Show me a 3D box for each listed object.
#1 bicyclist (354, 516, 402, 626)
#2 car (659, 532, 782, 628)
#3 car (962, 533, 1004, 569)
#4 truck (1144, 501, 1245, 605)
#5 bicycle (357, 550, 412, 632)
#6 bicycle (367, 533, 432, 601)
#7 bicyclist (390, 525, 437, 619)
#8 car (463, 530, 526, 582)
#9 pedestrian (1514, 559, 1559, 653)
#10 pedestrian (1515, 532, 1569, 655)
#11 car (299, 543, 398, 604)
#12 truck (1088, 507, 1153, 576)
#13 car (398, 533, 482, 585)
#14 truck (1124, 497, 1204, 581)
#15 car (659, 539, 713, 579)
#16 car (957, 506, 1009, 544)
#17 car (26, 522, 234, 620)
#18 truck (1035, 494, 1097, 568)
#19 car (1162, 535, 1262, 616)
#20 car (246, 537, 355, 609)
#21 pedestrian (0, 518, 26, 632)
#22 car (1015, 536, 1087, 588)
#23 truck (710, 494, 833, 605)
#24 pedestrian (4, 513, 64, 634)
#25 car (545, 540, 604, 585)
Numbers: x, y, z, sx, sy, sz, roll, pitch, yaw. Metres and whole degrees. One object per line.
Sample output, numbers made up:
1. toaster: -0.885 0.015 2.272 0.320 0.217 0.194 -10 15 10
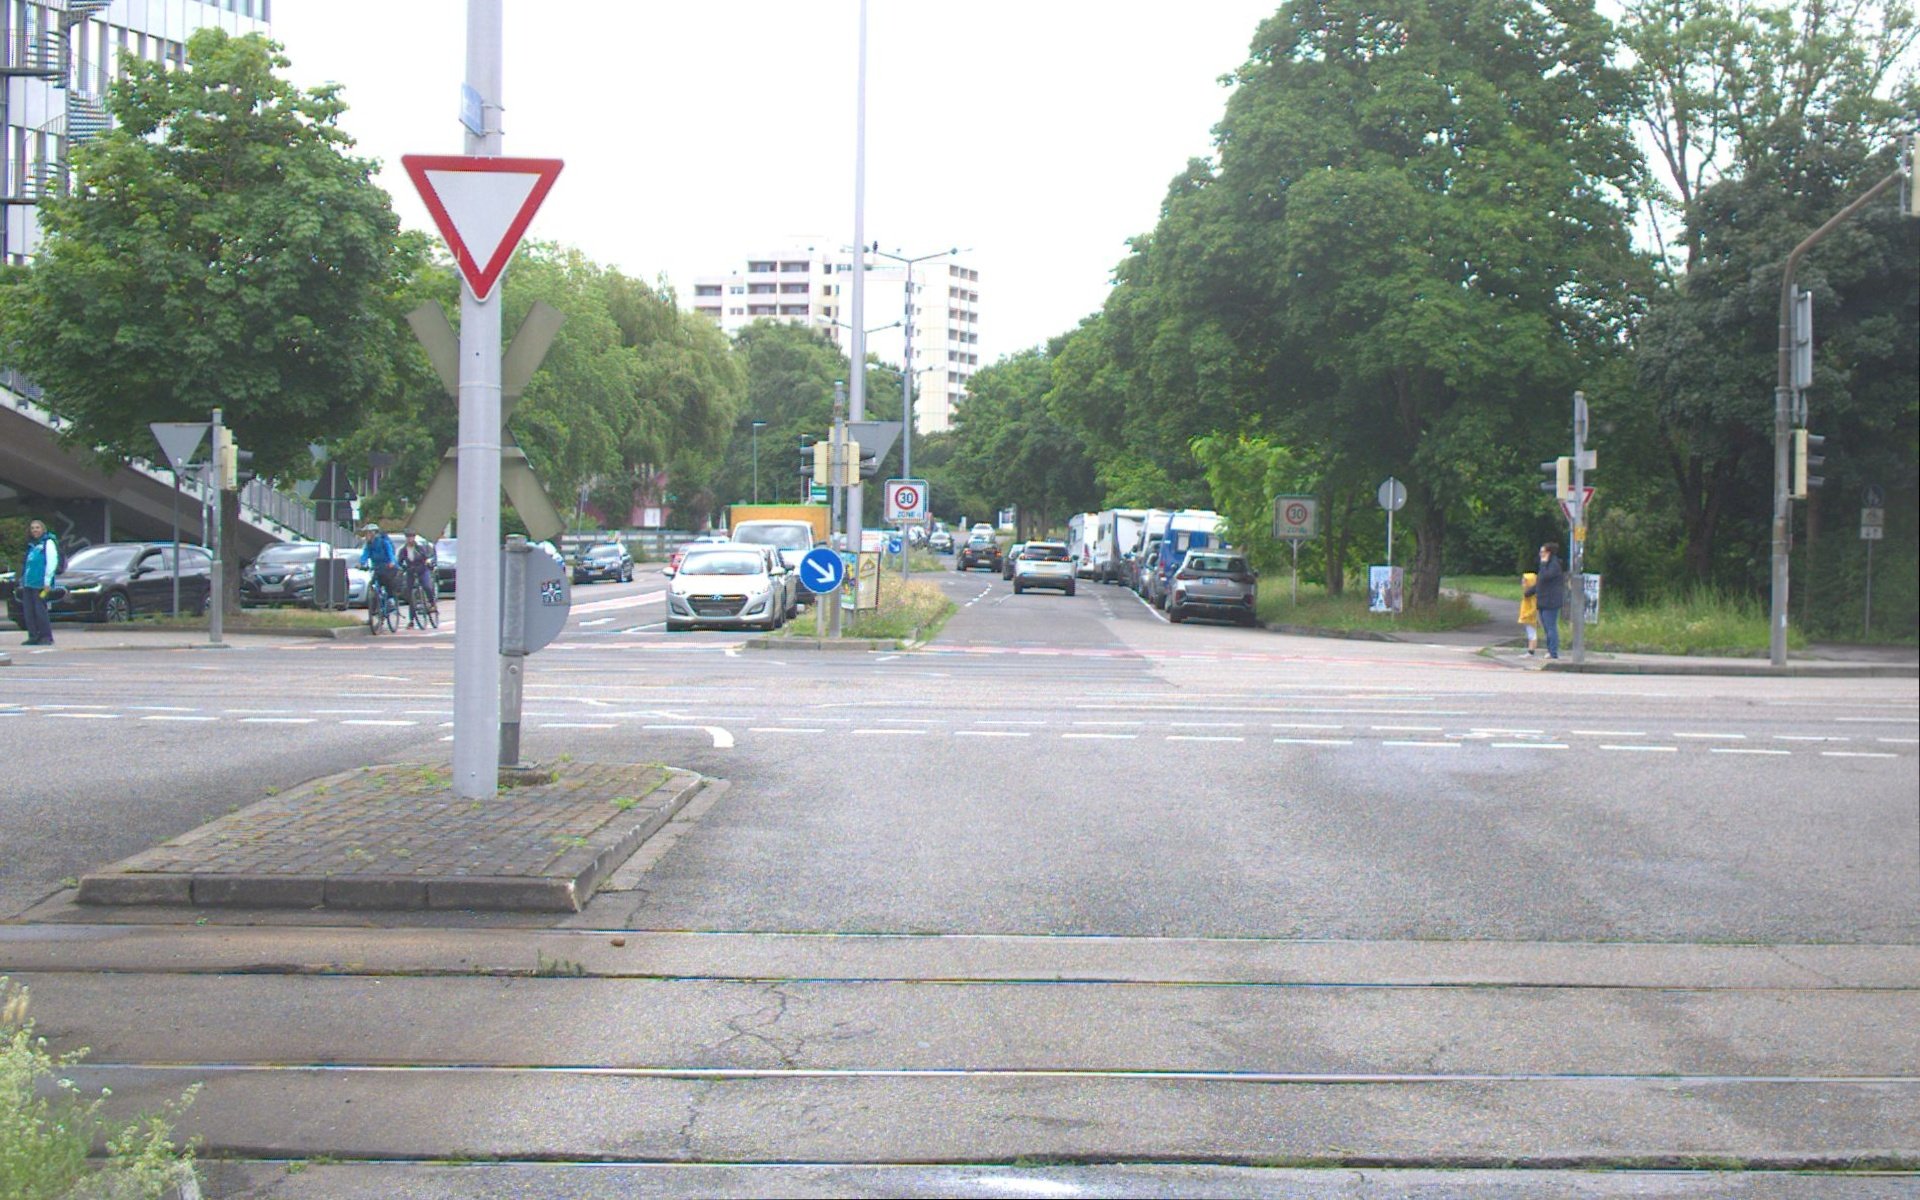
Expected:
1. bicyclist: -9.443 -0.471 55.769 0.644 1.762 0.647 1 1 -1
2. car: -3.998 -0.365 57.849 1.789 1.514 4.326 1 1 -1
3. car: 0.995 -2.166 150.653 1.554 1.500 4.001 1 1 -4
4. truck: 6.143 -1.237 90.729 2.174 2.647 6.247 0 1 -1
5. bicycle: -9.279 -0.155 55.467 0.543 1.263 2.111 1 1 -1
6. bicycle: -9.380 -0.567 57.624 0.726 1.097 2.264 1 1 -1
7. bicyclist: -9.288 -0.476 58.430 0.679 1.589 0.695 1 0 -1
8. car: -14.398 -1.370 106.451 1.444 1.546 3.664 1 1 -1
9. pedestrian: 8.368 0.084 49.904 0.527 1.337 0.525 1 1 -1
10. pedestrian: 8.342 -0.090 49.272 0.657 1.744 0.459 1 1 -1
11. car: -14.759 -0.657 83.149 1.671 1.382 3.895 1 1 0
12. truck: 6.152 -2.245 132.144 1.993 2.564 5.379 1 1 -2
13. car: -14.519 -1.163 96.081 1.763 1.390 4.000 1 1 -1
14. truck: 7.091 -2.118 120.071 1.993 2.828 5.732 1 1 -4
15. car: -9.663 -1.445 121.389 1.512 1.385 3.532 1 1 2
16. car: 0.931 -3.080 140.375 2.020 1.500 4.000 1 1 -1
17. car: -13.785 -0.499 57.328 1.673 1.546 3.997 1 1 15
18. truck: 4.375 -2.853 142.931 1.993 2.998 5.773 1 1 -4
19. car: 5.389 -0.543 73.938 1.784 1.656 4.000 1 1 -1
20. car: -14.863 -0.622 77.653 1.671 1.546 3.892 1 1 0
21. pedestrian: -12.935 -0.342 45.787 0.917 1.505 0.404 1 1 -11
22. car: 2.772 -1.173 105.225 2.020 1.500 4.000 1 1 -1
23. truck: -3.902 -1.082 72.149 2.155 2.191 5.840 1 1 1
24. pedestrian: -12.328 -0.354 45.774 0.687 1.599 0.488 1 1 -5
25. car: -14.062 -1.388 125.594 1.671 1.546 4.000 1 1 0
